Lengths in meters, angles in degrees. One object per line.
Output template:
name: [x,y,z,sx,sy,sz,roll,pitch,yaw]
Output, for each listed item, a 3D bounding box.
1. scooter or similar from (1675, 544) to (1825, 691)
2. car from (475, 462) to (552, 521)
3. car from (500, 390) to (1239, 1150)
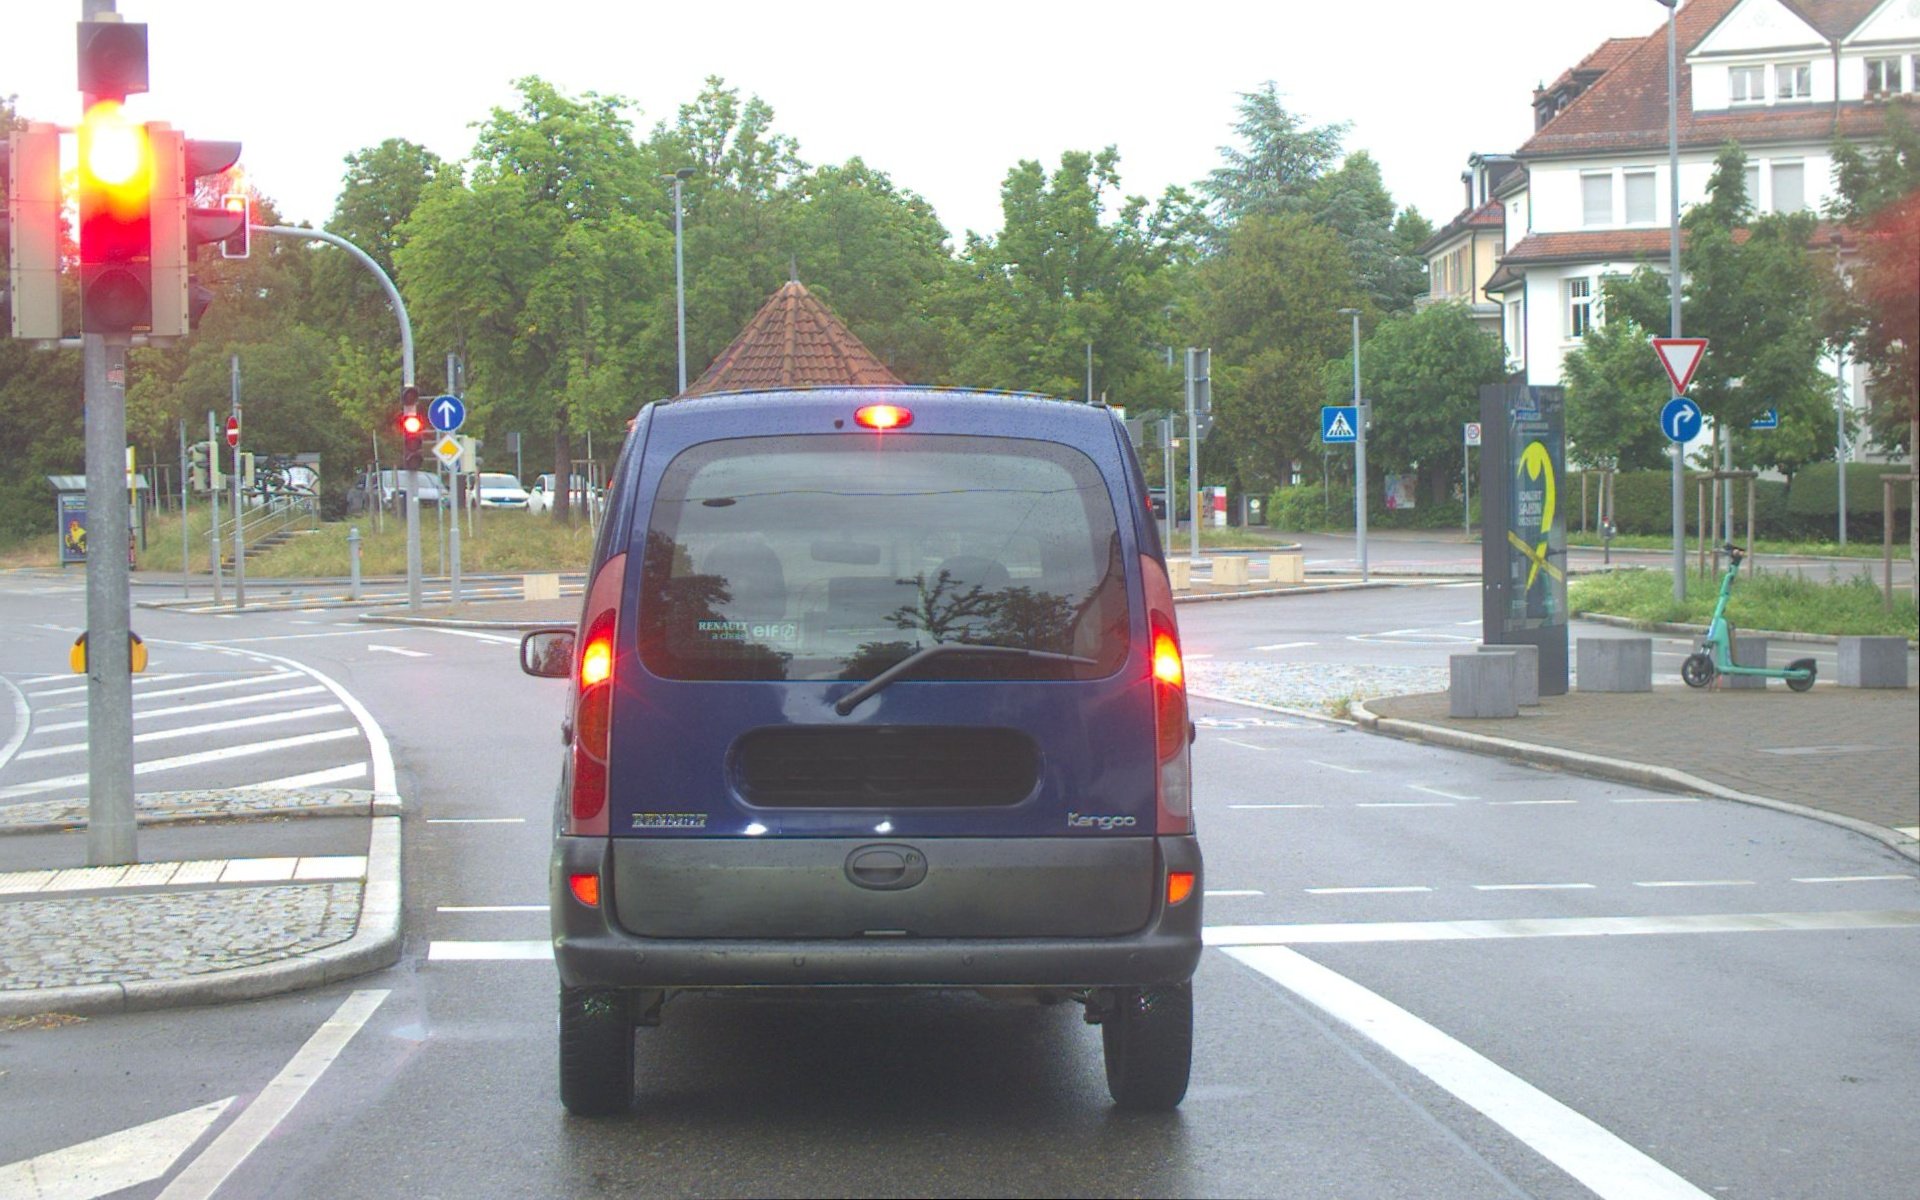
scooter or similar: [6.632,0.147,28.887,1.149,1.214,0.406,-1,0,-1]
car: [-14.416,-3.492,111.075,1.993,1.806,4.000,0,0,0]
car: [-0.300,0.349,10.071,1.731,1.780,4.001,0,1,-3]
